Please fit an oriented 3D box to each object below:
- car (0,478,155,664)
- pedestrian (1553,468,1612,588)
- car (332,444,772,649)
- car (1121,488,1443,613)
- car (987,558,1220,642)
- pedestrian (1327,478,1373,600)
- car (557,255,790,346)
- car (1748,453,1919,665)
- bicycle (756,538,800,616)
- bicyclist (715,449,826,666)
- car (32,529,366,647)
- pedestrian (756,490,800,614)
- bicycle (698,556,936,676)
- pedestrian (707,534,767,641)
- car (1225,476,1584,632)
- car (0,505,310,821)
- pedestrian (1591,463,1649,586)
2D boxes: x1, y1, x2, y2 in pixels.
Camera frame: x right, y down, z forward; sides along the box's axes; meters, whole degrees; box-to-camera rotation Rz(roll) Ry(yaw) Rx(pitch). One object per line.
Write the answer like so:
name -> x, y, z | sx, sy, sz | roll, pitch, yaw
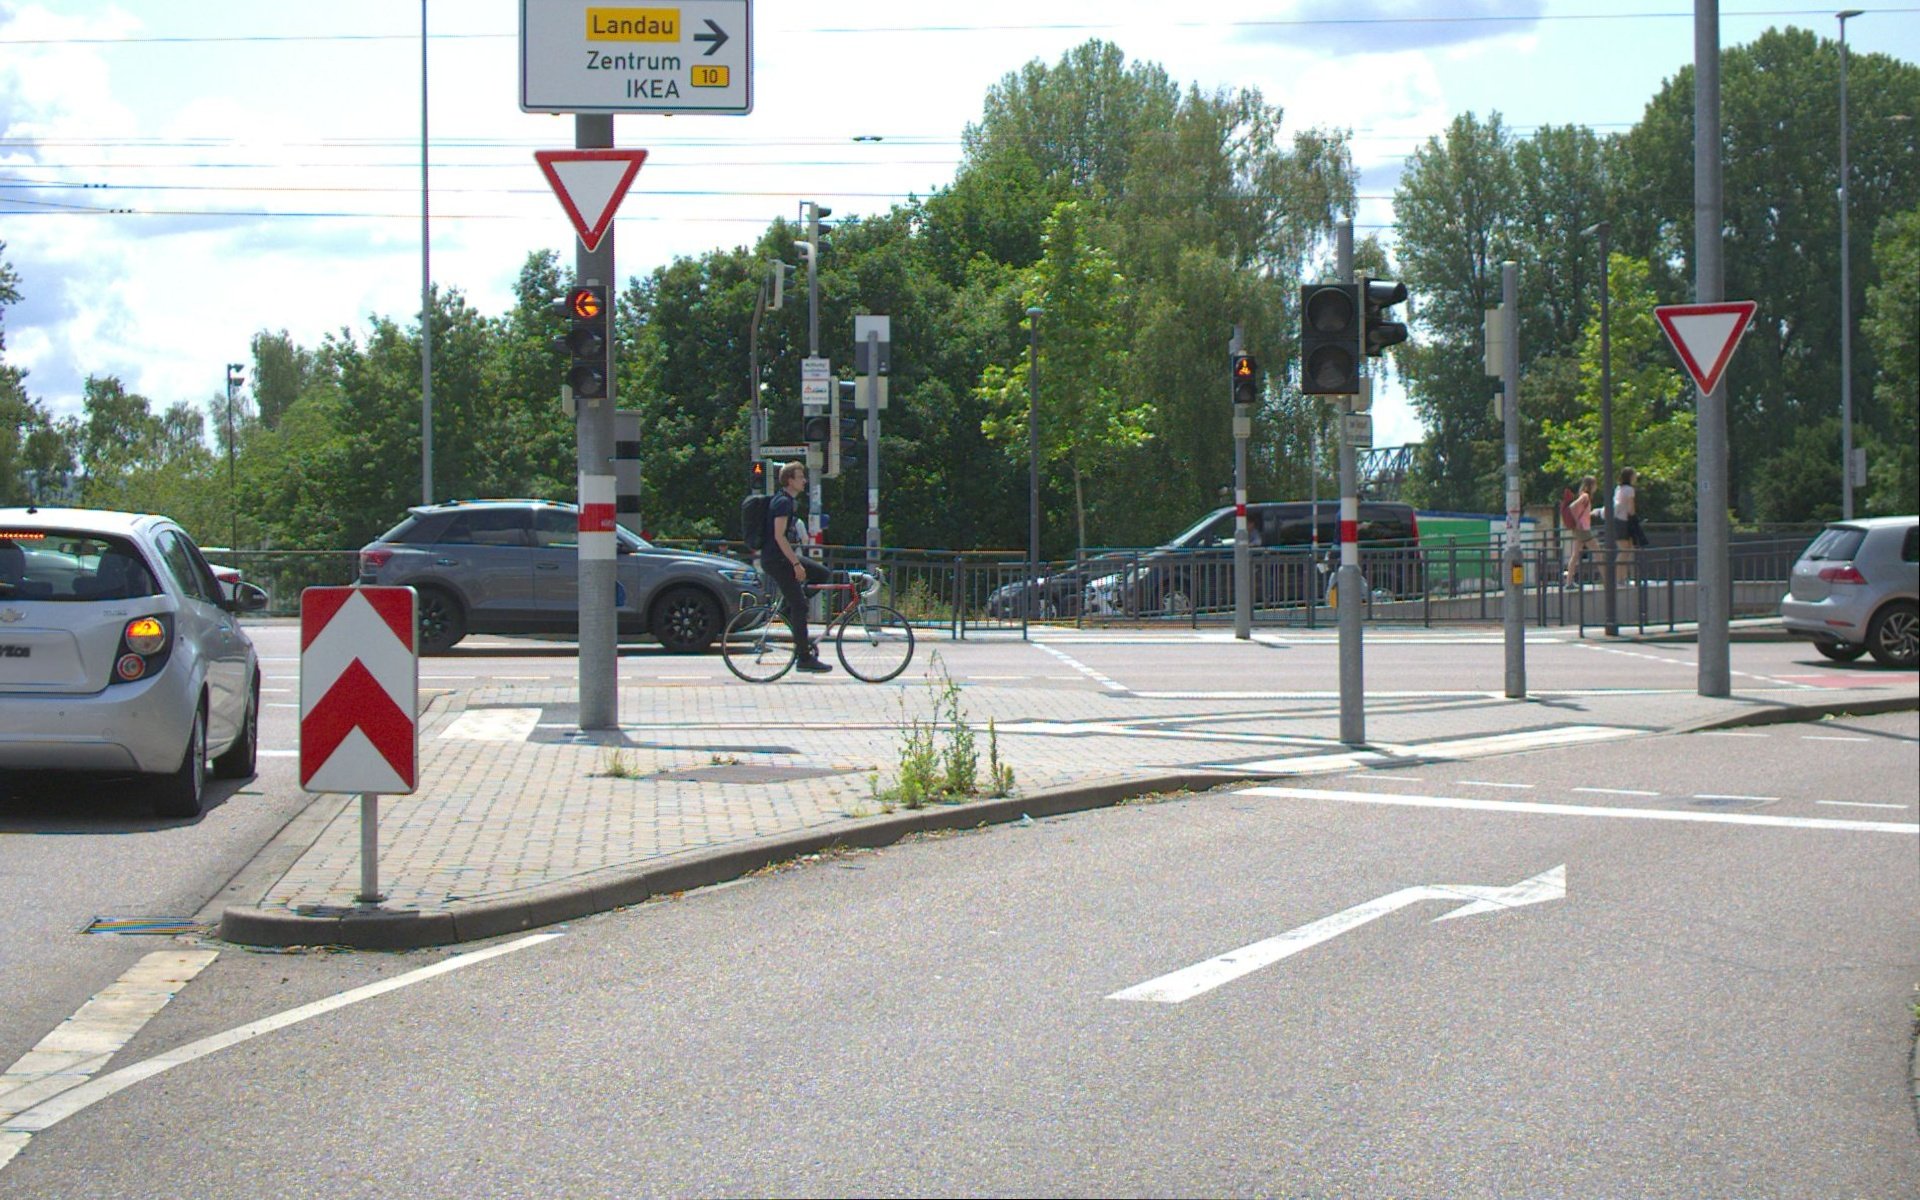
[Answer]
car -> -9.909, -0.304, 31.973 | 4.504, 1.669, 1.904 | 1, 1, -6
pedestrian -> 9.064, -1.049, 50.077 | 0.706, 1.715, 0.601 | -1, 1, -2
car -> -4.161, -0.559, 35.381 | 4.348, 1.982, 2.000 | -1, 1, -5
car -> 4.945, -0.773, 53.245 | 4.650, 1.814, 2.000 | -1, 1, -5
car -> 2.556, -0.013, 61.554 | 3.879, 1.404, 1.671 | -1, 2, -12
pedestrian -> 5.536, -0.869, 48.849 | 0.523, 1.715, 0.730 | -1, 1, -1
car -> -5.140, -5.345, 61.396 | 4.027, 1.459, 1.934 | -1, 1, -7
car -> 10.168, -0.440, 33.633 | 4.348, 1.982, 2.000 | -1, 1, -5
bicycle -> -2.621, -0.341, 49.478 | 0.619, 1.083, 1.722 | 0, 1, -3
bicyclist -> -1.639, -0.370, 29.612 | 0.921, 1.840, 0.611 | 0, 2, -5
car -> -12.463, -0.213, 56.571 | 5.117, 1.802, 2.000 | -1, 1, -5
pedestrian -> -2.619, -0.699, 49.436 | 0.611, 1.763, 0.672 | -1, 1, -3
bicycle -> -1.244, 0.134, 29.675 | 2.016, 0.995, 0.622 | 1, 2, -5
pedestrian -> -4.276, -0.255, 65.913 | 0.981, 2.007, 0.903 | -2, 1, -13
car -> 5.419, -0.577, 42.196 | 3.986, 1.776, 1.910 | -1, 1, -6
car -> -4.590, 0.245, 17.998 | 1.894, 1.465, 3.834 | 1, 1, -4
pedestrian -> 9.434, -1.087, 49.149 | 0.676, 1.742, 0.637 | 0, 3, -2
